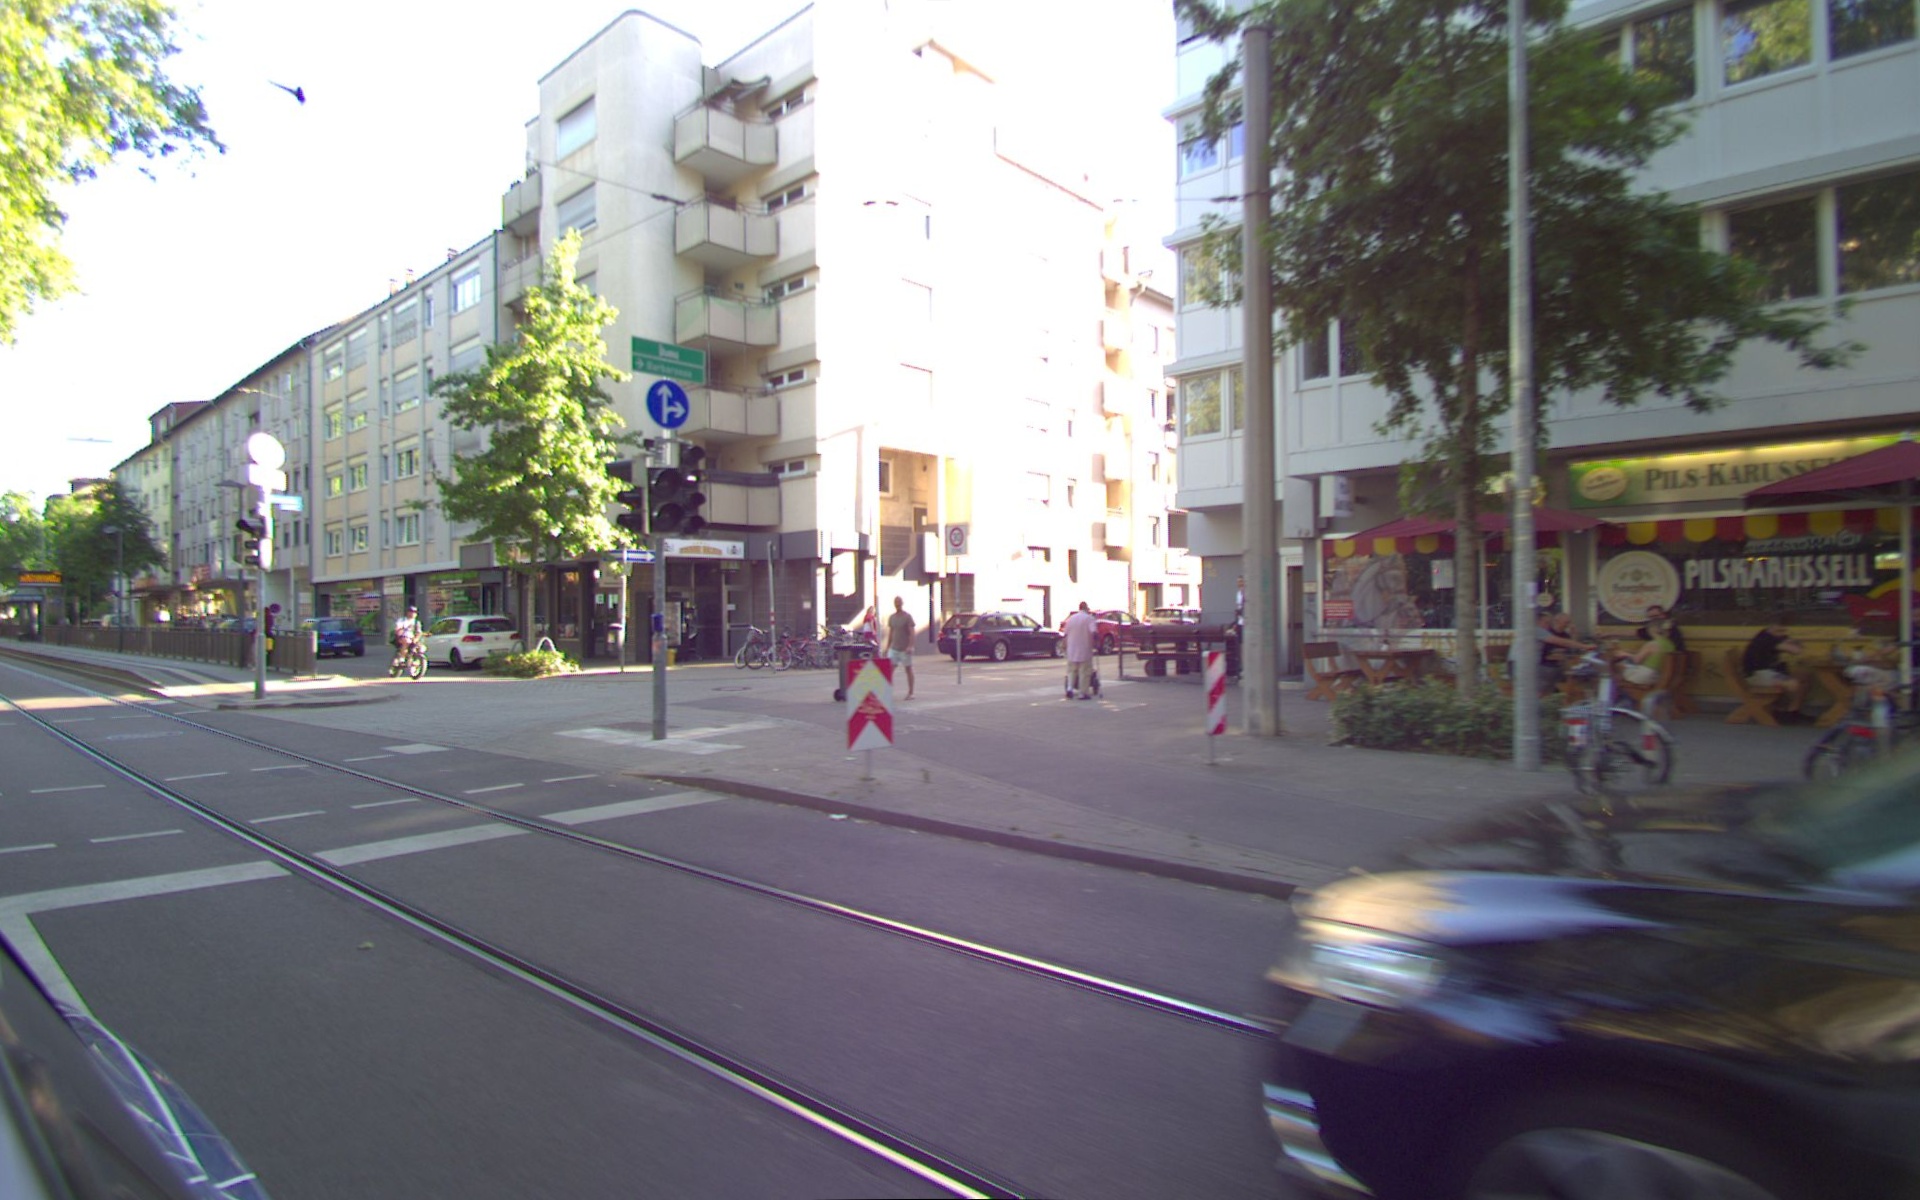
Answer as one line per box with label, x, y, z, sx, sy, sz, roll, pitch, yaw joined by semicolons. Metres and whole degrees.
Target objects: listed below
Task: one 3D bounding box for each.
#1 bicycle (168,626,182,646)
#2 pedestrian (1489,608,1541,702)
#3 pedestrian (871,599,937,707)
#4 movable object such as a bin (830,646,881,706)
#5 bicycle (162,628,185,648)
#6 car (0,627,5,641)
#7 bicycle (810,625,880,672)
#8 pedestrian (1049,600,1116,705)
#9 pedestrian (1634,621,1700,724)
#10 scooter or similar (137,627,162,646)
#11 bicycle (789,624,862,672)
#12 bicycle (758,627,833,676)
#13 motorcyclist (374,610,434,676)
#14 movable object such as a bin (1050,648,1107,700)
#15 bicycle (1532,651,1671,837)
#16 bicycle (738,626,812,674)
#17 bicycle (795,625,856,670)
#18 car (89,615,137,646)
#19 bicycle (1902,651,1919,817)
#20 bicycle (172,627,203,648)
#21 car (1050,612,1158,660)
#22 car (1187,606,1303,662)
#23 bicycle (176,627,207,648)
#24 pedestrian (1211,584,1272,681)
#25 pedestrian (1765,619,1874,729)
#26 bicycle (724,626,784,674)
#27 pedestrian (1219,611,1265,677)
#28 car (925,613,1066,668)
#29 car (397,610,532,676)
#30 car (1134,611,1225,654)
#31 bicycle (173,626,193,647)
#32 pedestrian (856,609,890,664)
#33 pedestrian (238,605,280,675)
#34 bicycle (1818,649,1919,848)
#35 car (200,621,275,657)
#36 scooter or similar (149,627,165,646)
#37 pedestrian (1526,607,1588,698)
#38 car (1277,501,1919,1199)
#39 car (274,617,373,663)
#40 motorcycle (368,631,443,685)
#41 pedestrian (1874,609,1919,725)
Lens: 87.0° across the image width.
bicycle;-48.197;2.208;62.121;0.506;1.165;1.688;1;-2;-44
pedestrian;7.381;0.721;13.471;0.561;1.207;0.508;-1;-2;26
pedestrian;-0.898;0.841;16.293;0.767;1.684;0.750;-1;-2;37
movable object such as a bin;-1.699;1.224;16.437;0.646;0.939;0.536;-1;-2;26
bicycle;-46.692;2.239;60.055;2.034;1.165;0.565;-1;-2;37
car;-104.778;3.688;109.501;1.971;1.541;3.680;1;-2;-45
bicycle;-3.001;1.250;26.488;1.760;1.165;0.573;0;-2;-37
pedestrian;1.899;0.798;15.701;0.767;1.568;0.718;-1;-2;37
pedestrian;8.538;0.856;12.229;0.564;1.207;0.506;-2;-2;44
scooter or similar;-49.498;2.225;61.812;1.259;1.183;0.445;-1;-1;6
bicycle;-3.415;1.209;25.622;1.759;1.165;0.574;0;-1;-17
bicycle;-4.060;1.248;24.992;1.759;1.165;0.574;0;-1;-17
motorcyclist;-12.565;0.958;22.861;1.015;1.451;0.865;-2;-2;39
movable object such as a bin;1.970;1.211;16.724;0.661;0.763;1.188;-1;0;20
bicycle;4.435;0.907;6.945;0.657;1.015;1.675;-1;0;37
bicycle;-4.671;1.257;25.673;1.836;1.165;0.572;1;-2;-44
bicycle;-3.592;1.252;27.182;0.571;1.165;1.768;-1;-1;35
car;-56.058;2.004;66.947;4.047;1.949;1.785;-2;-2;41
bicycle;6.176;0.863;6.008;0.657;1.015;1.812;-1;0;37
bicycle;-43.480;2.115;56.970;2.020;1.165;0.555;-1;-2;27
car;4.867;1.165;33.988;1.805;1.515;3.729;-1;-1;43
car;8.832;1.001;31.182;1.890;1.593;3.944;-1;-1;42
bicycle;-43.590;2.115;57.401;2.020;1.165;0.555;-1;-2;27
pedestrian;5.008;0.570;18.013;0.769;1.672;0.738;-2;-2;45
pedestrian;9.686;0.822;11.426;0.684;1.207;0.601;-1;-1;7
bicycle;-5.350;1.283;26.416;0.568;1.165;2.024;-1;-1;20
pedestrian;5.432;0.844;19.533;0.760;1.251;0.747;-1;-1;9
car;1.124;1.150;30.220;1.895;1.515;4.234;-1;-1;43
car;-14.006;1.173;28.511;4.356;1.663;1.858;-2;0;41
car;8.202;1.185;37.613;1.892;1.515;3.734;-1;-1;37
bicycle;-45.179;2.114;58.856;1.748;1.165;0.488;-1;-2;37
pedestrian;-2.497;1.034;29.019;0.715;1.568;0.728;0;-1;-29
pedestrian;-16.317;0.920;23.545;0.772;1.597;0.646;-1;-1;43
bicycle;5.916;0.869;6.379;0.657;1.015;1.812;-1;0;37
car;-31.491;1.676;44.072;4.281;1.475;1.775;-2;-2;43
scooter or similar;-48.437;2.199;61.022;1.273;1.183;0.440;-1;-2;37
pedestrian;8.105;0.699;13.755;0.507;1.207;0.562;-1;-1;7
car;2.844;0.658;1.513;4.141;1.602;1.853;-2;-3;38
car;-23.033;1.425;36.568;4.388;1.556;1.935;-2;-2;43
motorcycle;-12.515;1.282;22.827;1.913;1.173;0.840;-2;-2;40
pedestrian;10.268;0.704;10.797;0.558;1.207;0.511;-1;-2;13
